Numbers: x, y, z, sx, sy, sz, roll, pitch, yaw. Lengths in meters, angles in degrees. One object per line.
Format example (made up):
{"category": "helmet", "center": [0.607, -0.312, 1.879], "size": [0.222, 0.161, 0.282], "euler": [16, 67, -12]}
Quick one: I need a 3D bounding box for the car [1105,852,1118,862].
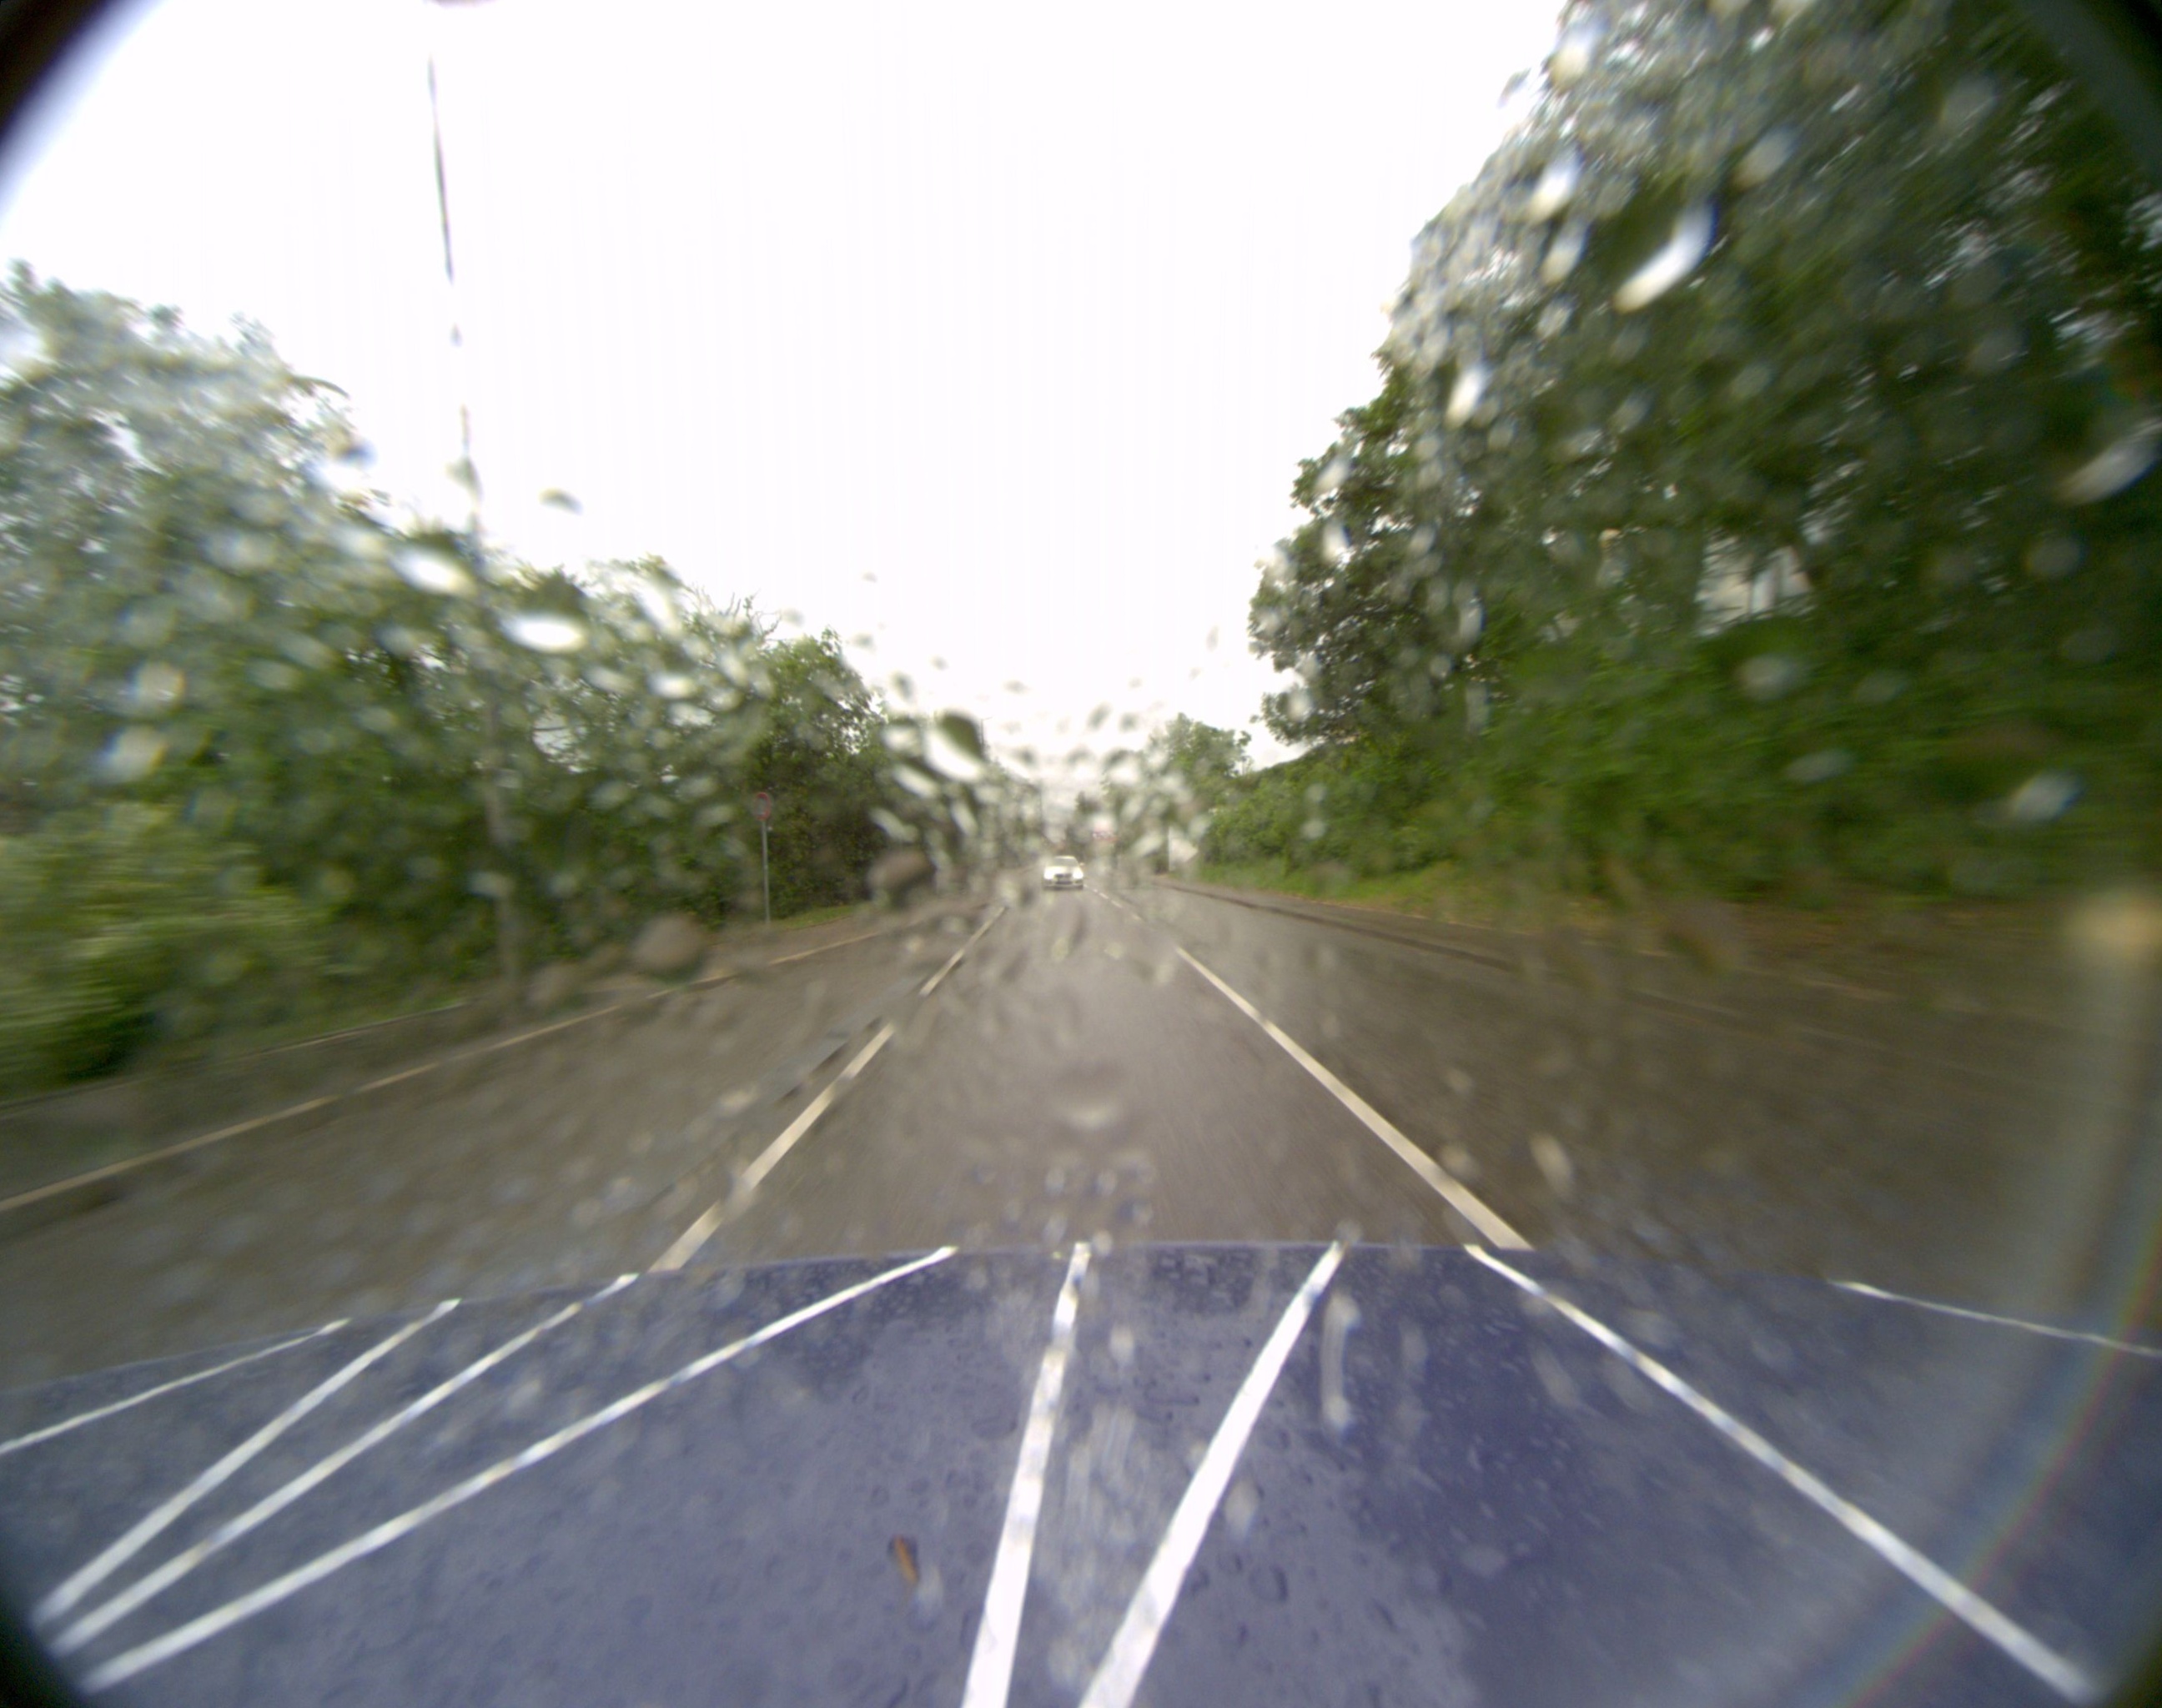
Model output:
{"category": "car", "center": [4.236, 0.382, 104.836], "size": [1.654, 1.377, 3.530], "euler": [1, 0, 3]}

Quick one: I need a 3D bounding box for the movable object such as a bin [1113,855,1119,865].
{"category": "movable object such as a bin", "center": [3.700, 0.626, 80.260], "size": [0.649, 1.109, 0.505], "euler": [1, 1, 5]}

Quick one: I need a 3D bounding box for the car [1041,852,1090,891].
{"category": "car", "center": [-0.612, 0.729, 33.867], "size": [1.798, 1.455, 4.000], "euler": [3, 2, 3]}

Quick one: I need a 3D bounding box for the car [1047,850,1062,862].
{"category": "car", "center": [-3.827, 0.333, 110.375], "size": [1.631, 1.485, 3.427], "euler": [8, 2, 5]}
